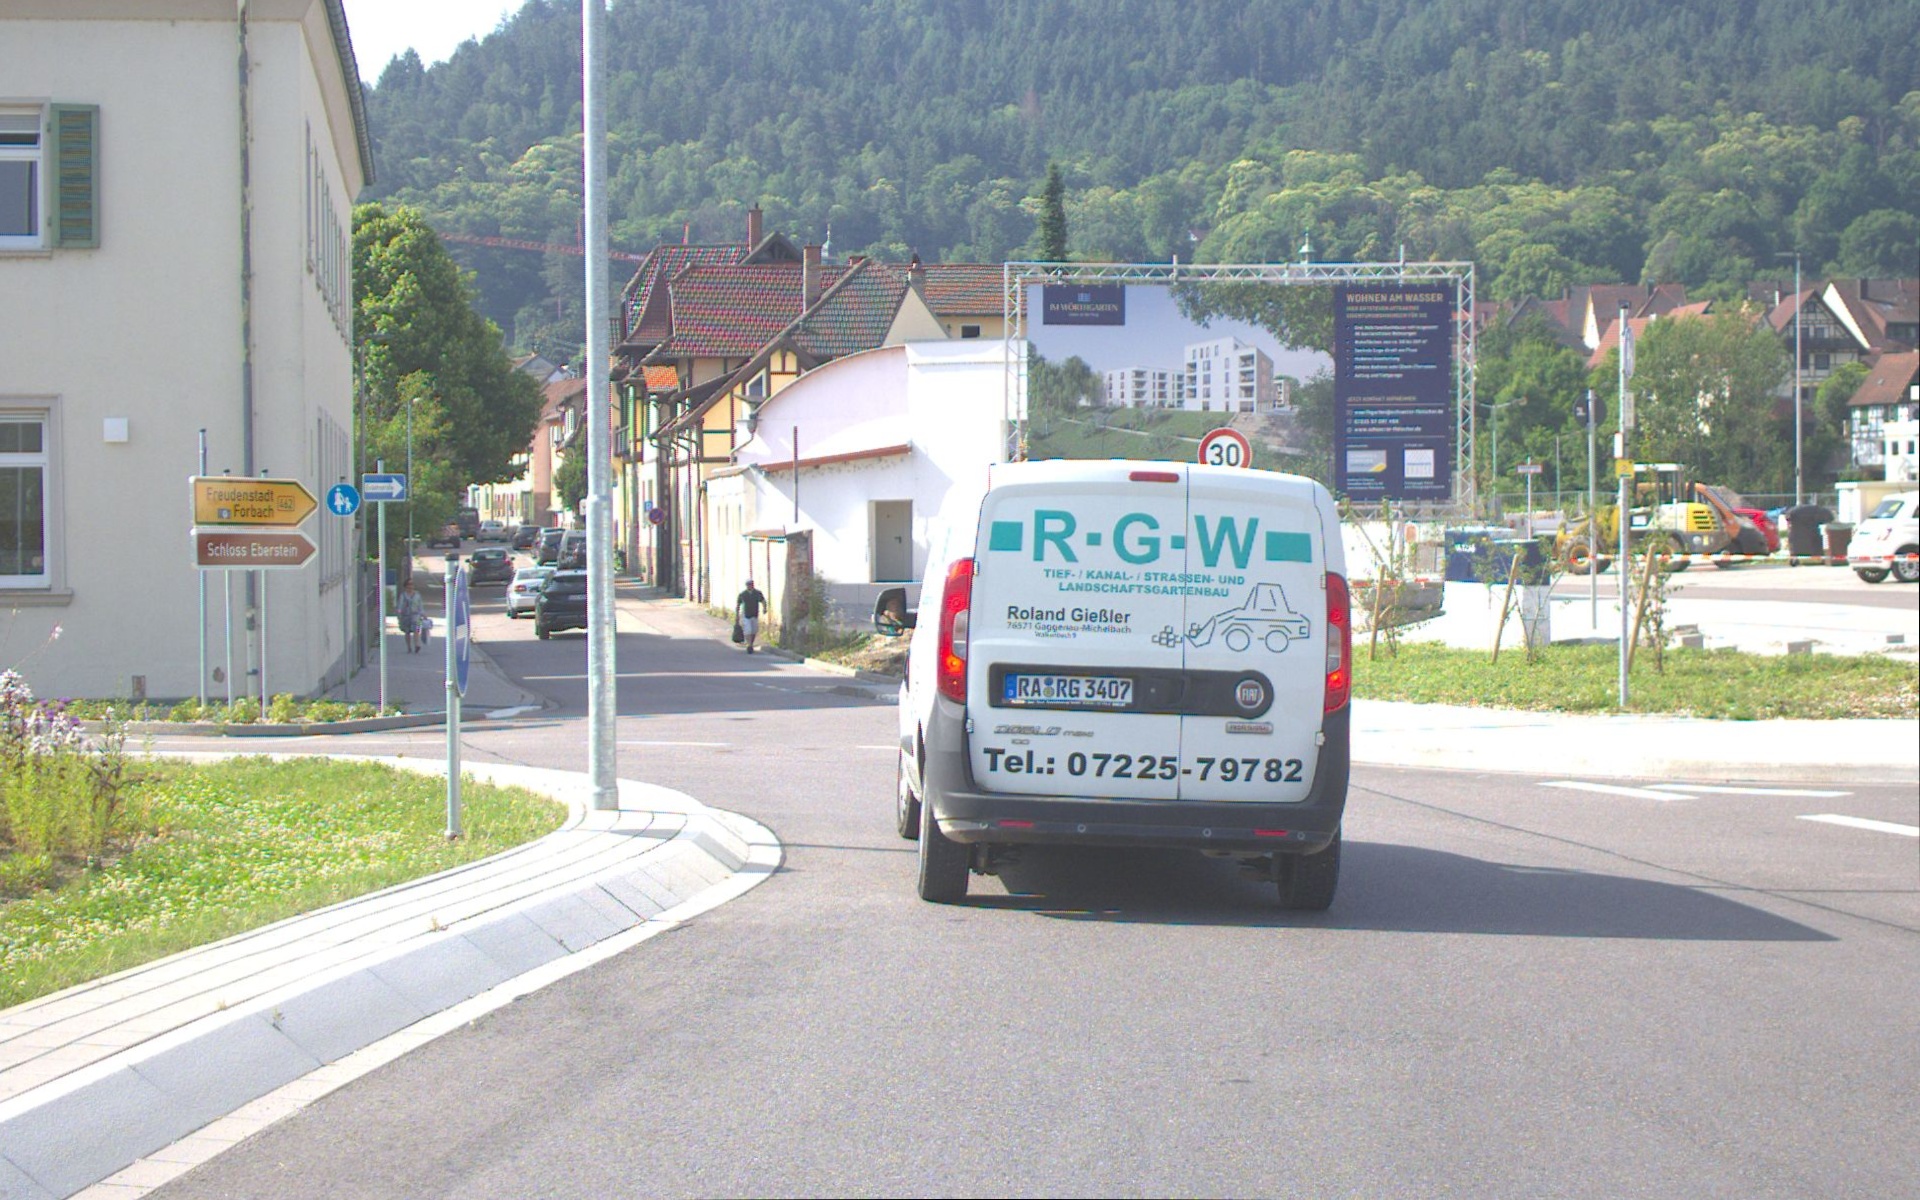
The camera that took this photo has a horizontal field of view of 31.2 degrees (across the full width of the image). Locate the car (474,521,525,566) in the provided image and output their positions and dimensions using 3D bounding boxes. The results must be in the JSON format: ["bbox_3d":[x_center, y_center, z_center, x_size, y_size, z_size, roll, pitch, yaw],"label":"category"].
[{"bbox_3d":[-17.816,-2.205,132.936,1.810,1.591,3.928,2,2,-9],"label":"car"}]

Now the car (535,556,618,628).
[{"bbox_3d":[-9.469,-0.217,84.608,1.810,1.591,3.928,2,2,-9],"label":"car"}]

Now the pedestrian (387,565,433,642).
[{"bbox_3d":[-11.779,0.072,73.585,0.957,1.625,0.758,0,1,-9],"label":"pedestrian"}]

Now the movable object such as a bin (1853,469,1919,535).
[{"bbox_3d":[21.664,-2.265,79.585,1.580,1.459,1.320,2,2,1],"label":"movable object such as a bin"}]

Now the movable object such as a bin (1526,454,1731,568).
[{"bbox_3d":[16.071,-2.117,82.594,4.616,2.560,1.924,-1,1,17],"label":"movable object such as a bin"}]

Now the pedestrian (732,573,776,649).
[{"bbox_3d":[-4.576,0.238,76.285,0.888,1.677,0.718,1,0,-9],"label":"pedestrian"}]

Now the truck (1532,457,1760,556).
[{"bbox_3d":[17.164,-2.327,85.982,5.319,2.258,2.217,-1,1,17],"label":"truck"}]

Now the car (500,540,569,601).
[{"bbox_3d":[-12.410,-0.878,100.096,1.810,1.591,3.928,2,2,-9],"label":"car"}]

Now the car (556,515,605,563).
[{"bbox_3d":[-16.506,-2.654,149.495,1.871,2.006,4.001,0,2,-9],"label":"car"}]

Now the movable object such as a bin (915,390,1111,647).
[{"bbox_3d":[0.756,-1.309,56.238,2.294,3.841,7.800,2,1,-5],"label":"movable object such as a bin"}]

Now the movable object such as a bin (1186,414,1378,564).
[{"bbox_3d":[8.205,-2.787,87.012,2.854,3.609,5.728,3,2,26],"label":"movable object such as a bin"}]

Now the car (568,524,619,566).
[{"bbox_3d":[-14.877,-2.239,139.484,1.810,1.591,3.928,2,2,-9],"label":"car"}]

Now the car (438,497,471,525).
[{"bbox_3d":[-30.964,-5.433,210.339,1.810,1.591,3.928,2,2,-10],"label":"car"}]

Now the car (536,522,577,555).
[{"bbox_3d":[-19.470,-2.995,165.719,1.669,1.503,4.001,-1,2,-11],"label":"car"}]

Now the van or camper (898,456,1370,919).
[{"bbox_3d":[0.655,0.315,15.740,1.828,1.838,4.189,0,1,-2],"label":"van or camper"}]

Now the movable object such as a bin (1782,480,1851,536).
[{"bbox_3d":[20.438,-2.204,82.037,1.296,1.263,1.320,2,2,1],"label":"movable object such as a bin"}]

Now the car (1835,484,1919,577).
[{"bbox_3d":[16.654,-1.192,57.728,3.404,1.490,1.595,-2,0,-9],"label":"car"}]
